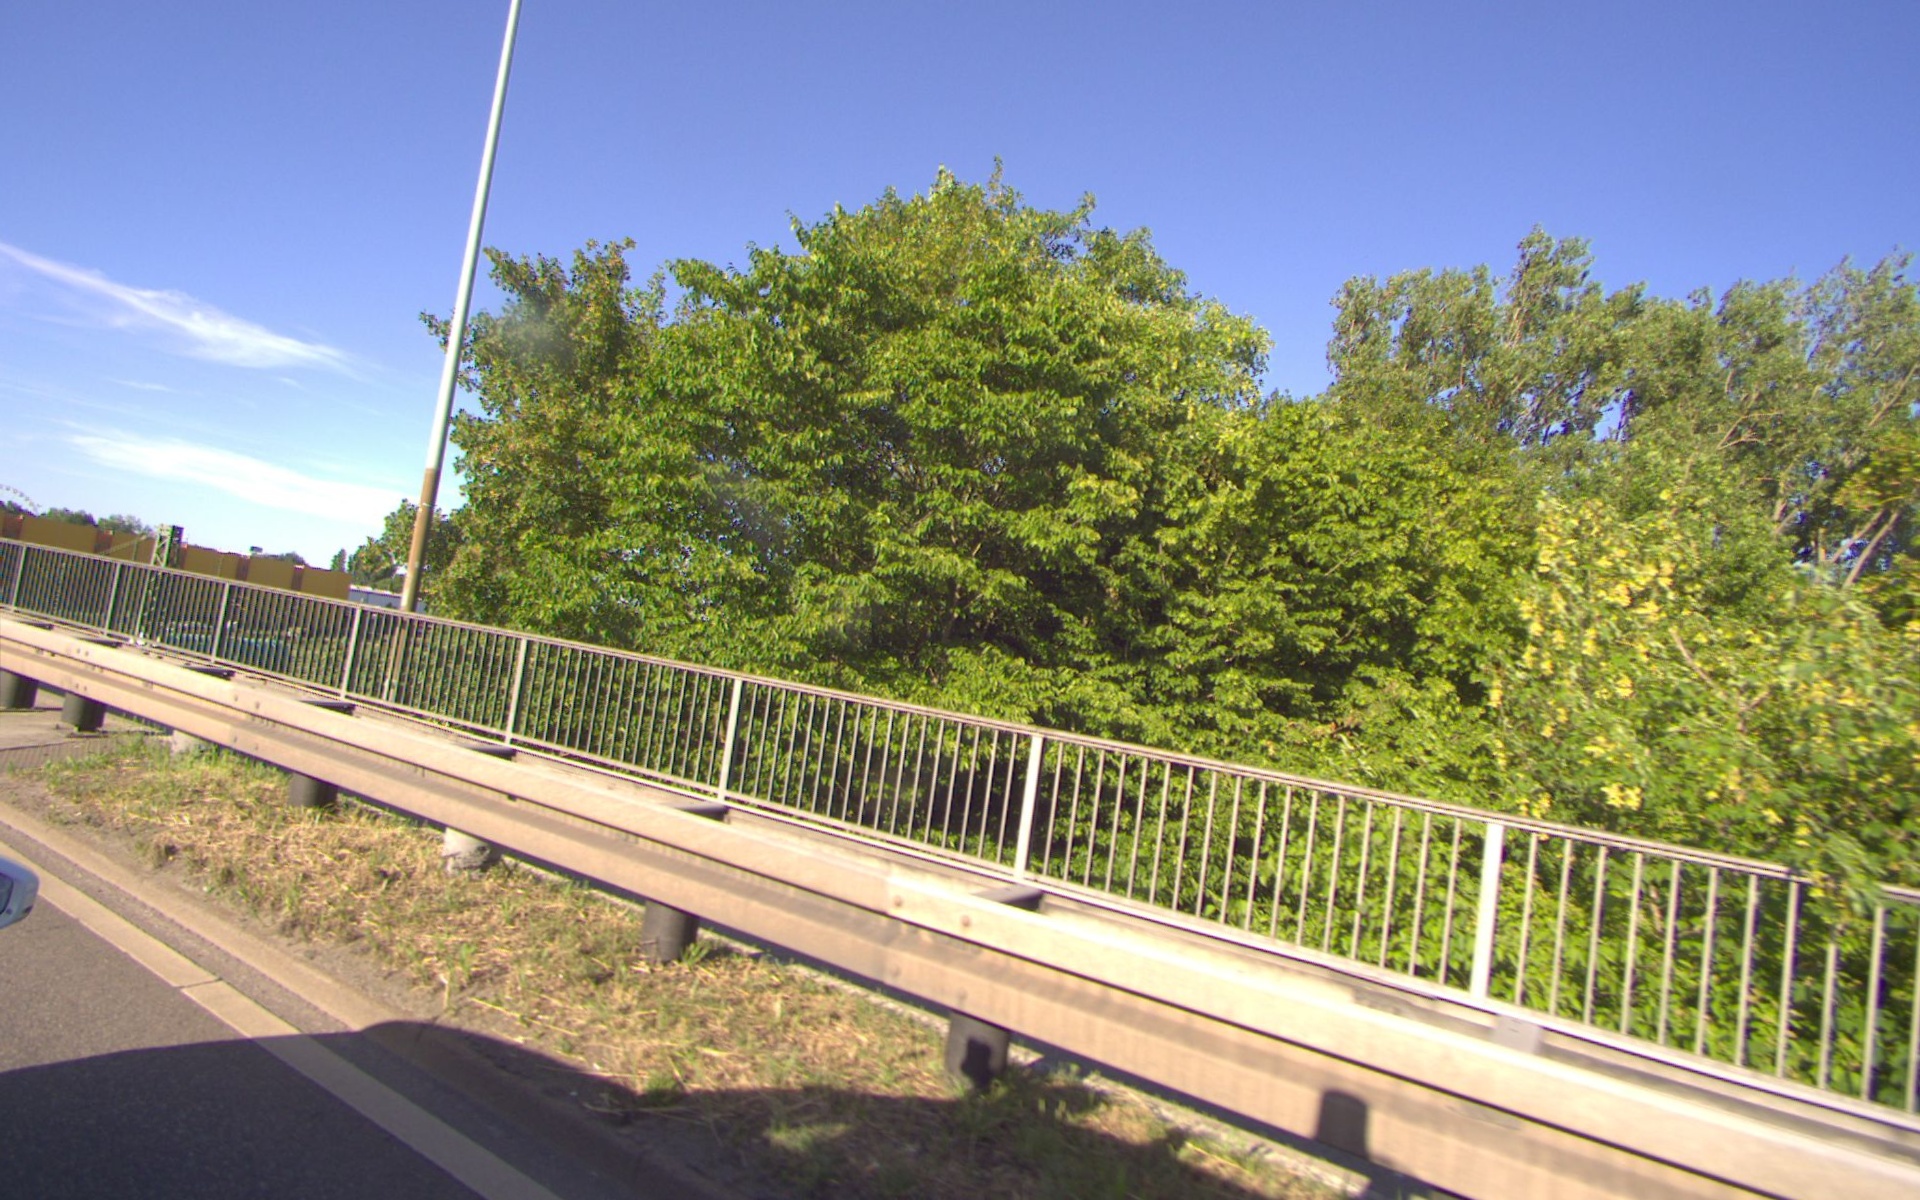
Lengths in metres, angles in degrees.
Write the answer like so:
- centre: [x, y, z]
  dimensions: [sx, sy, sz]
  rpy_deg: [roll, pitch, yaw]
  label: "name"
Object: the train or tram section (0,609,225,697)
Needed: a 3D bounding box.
- centre: [-61.560, 3.778, 72.577]
  dimensions: [3.274, 5.320, 16.902]
  rpy_deg: [8, -3, 3]
  label: "train or tram section"
